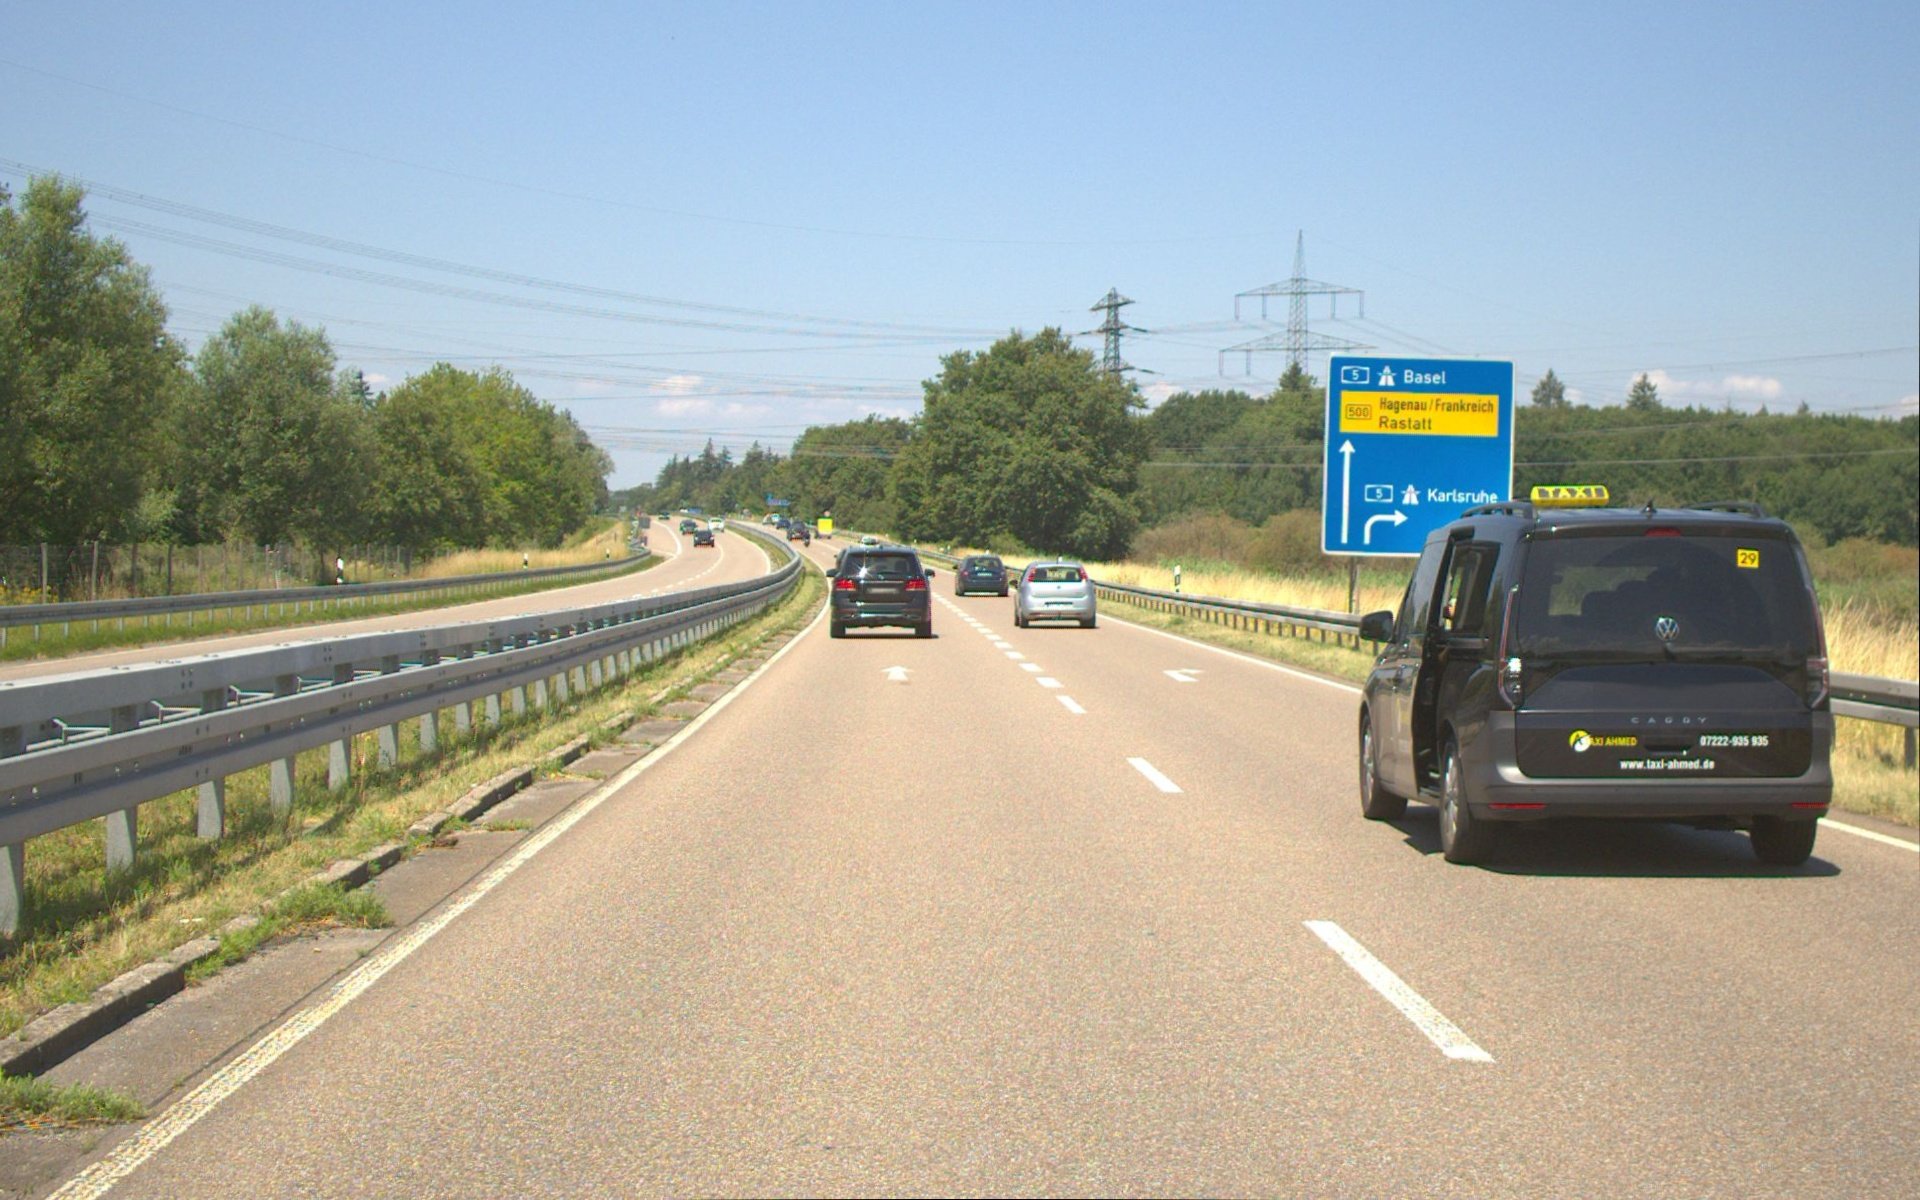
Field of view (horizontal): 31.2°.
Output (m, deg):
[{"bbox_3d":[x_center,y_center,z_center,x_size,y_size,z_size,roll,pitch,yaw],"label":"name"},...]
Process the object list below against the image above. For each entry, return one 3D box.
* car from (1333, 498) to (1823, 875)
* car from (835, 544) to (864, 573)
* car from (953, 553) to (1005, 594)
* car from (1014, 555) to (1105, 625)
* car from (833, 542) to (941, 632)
[{"bbox_3d":[3.240,0.393,18.849,1.779,1.810,4.213,1,1,-2],"label":"car"},{"bbox_3d":[-5.970,-2.229,185.250,1.514,1.470,3.066,2,1,-2],"label":"car"},{"bbox_3d":[0.663,-0.957,121.735,1.819,1.409,4.000,0,1,0],"label":"car"},{"bbox_3d":[2.190,-0.235,76.431,1.779,1.474,4.316,2,1,-1],"label":"car"},{"bbox_3d":[-1.408,-0.266,66.488,1.993,1.649,4.000,2,1,-1],"label":"car"}]
